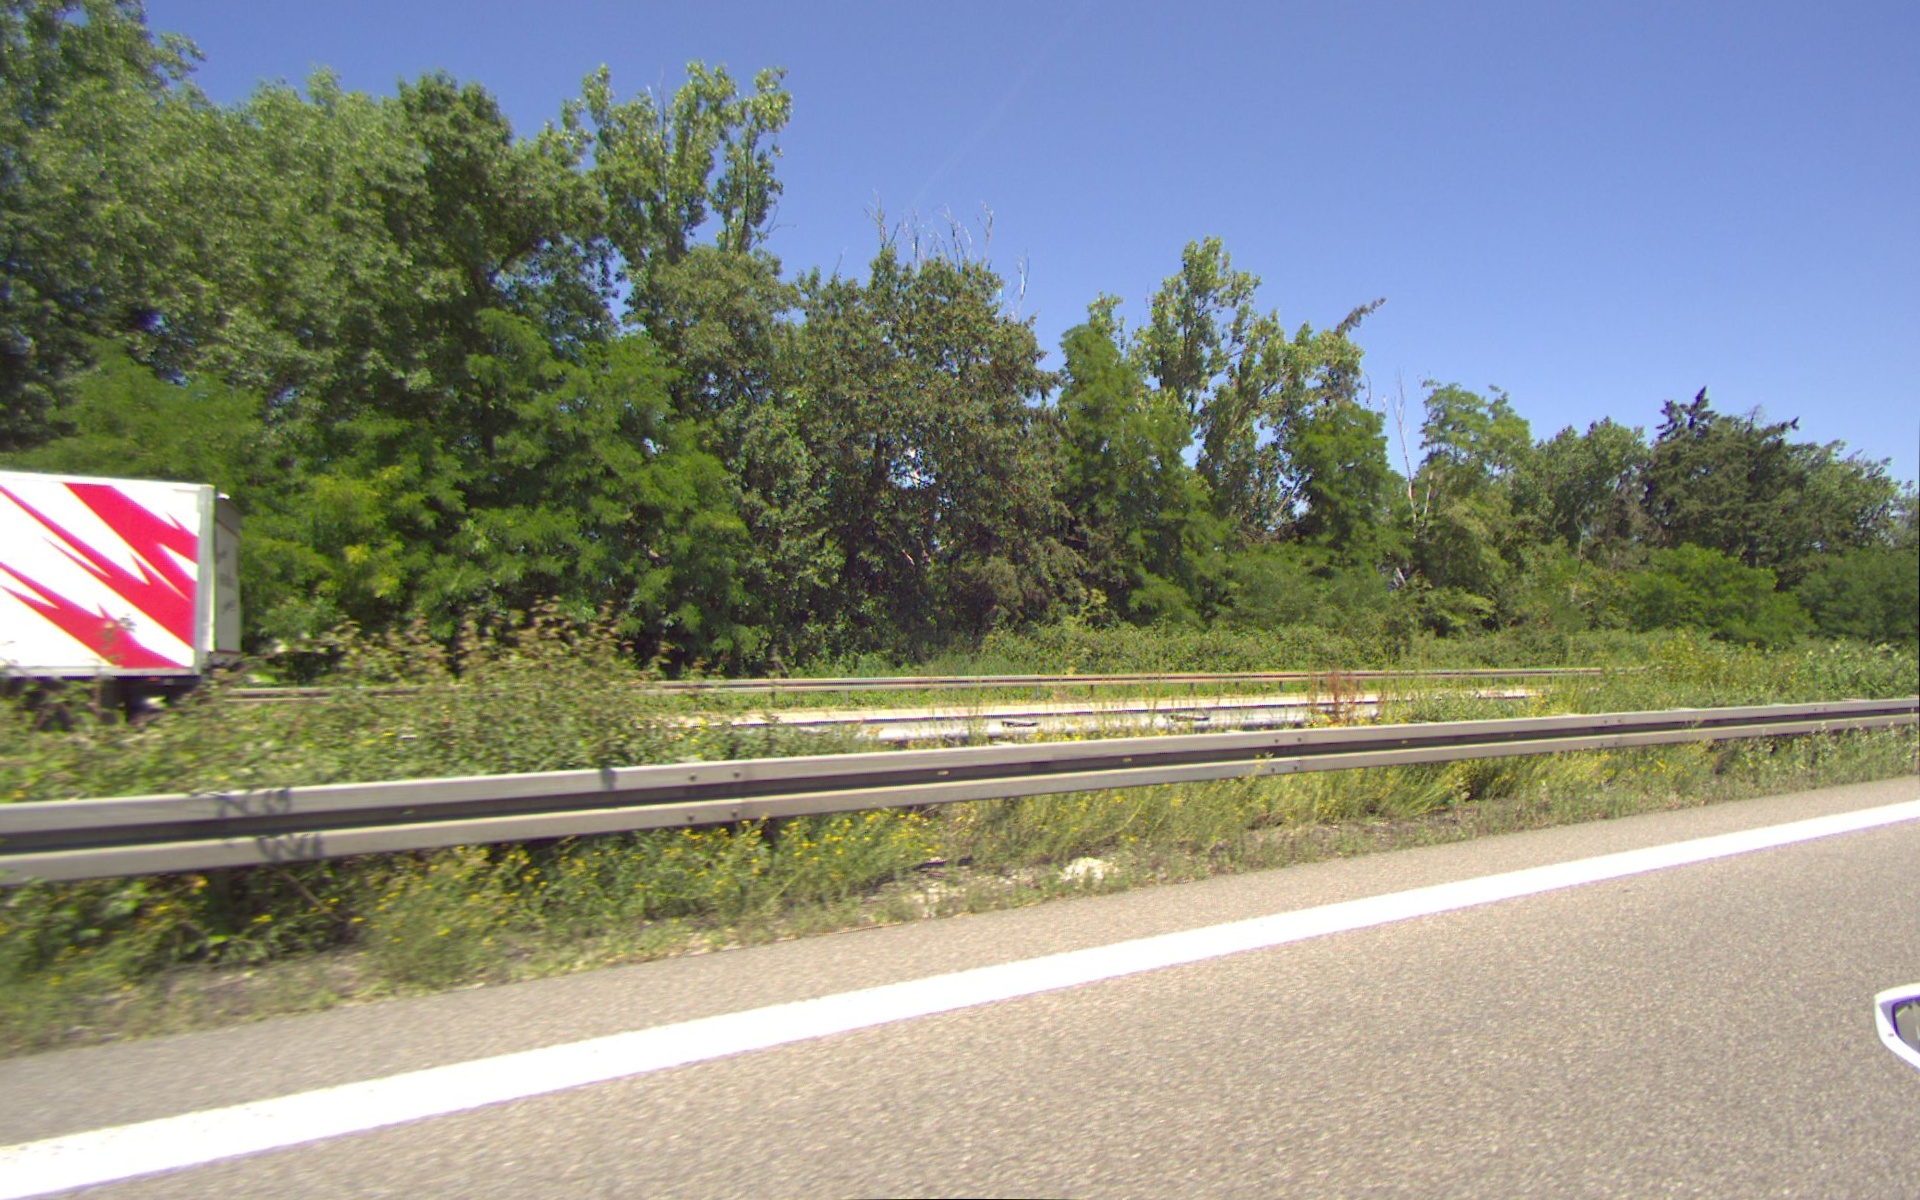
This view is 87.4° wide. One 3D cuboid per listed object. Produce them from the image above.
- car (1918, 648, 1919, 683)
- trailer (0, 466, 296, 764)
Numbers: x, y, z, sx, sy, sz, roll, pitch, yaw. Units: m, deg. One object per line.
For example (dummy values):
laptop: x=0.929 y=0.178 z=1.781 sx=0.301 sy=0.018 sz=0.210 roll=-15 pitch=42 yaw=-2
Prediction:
car: x=40.023 y=2.596 z=39.853 sx=4.260 sy=1.397 sz=1.844 roll=2 pitch=-2 yaw=-30
trailer: x=-14.635 y=0.187 z=13.545 sx=9.164 sy=3.878 sz=2.913 roll=2 pitch=-2 yaw=-30
